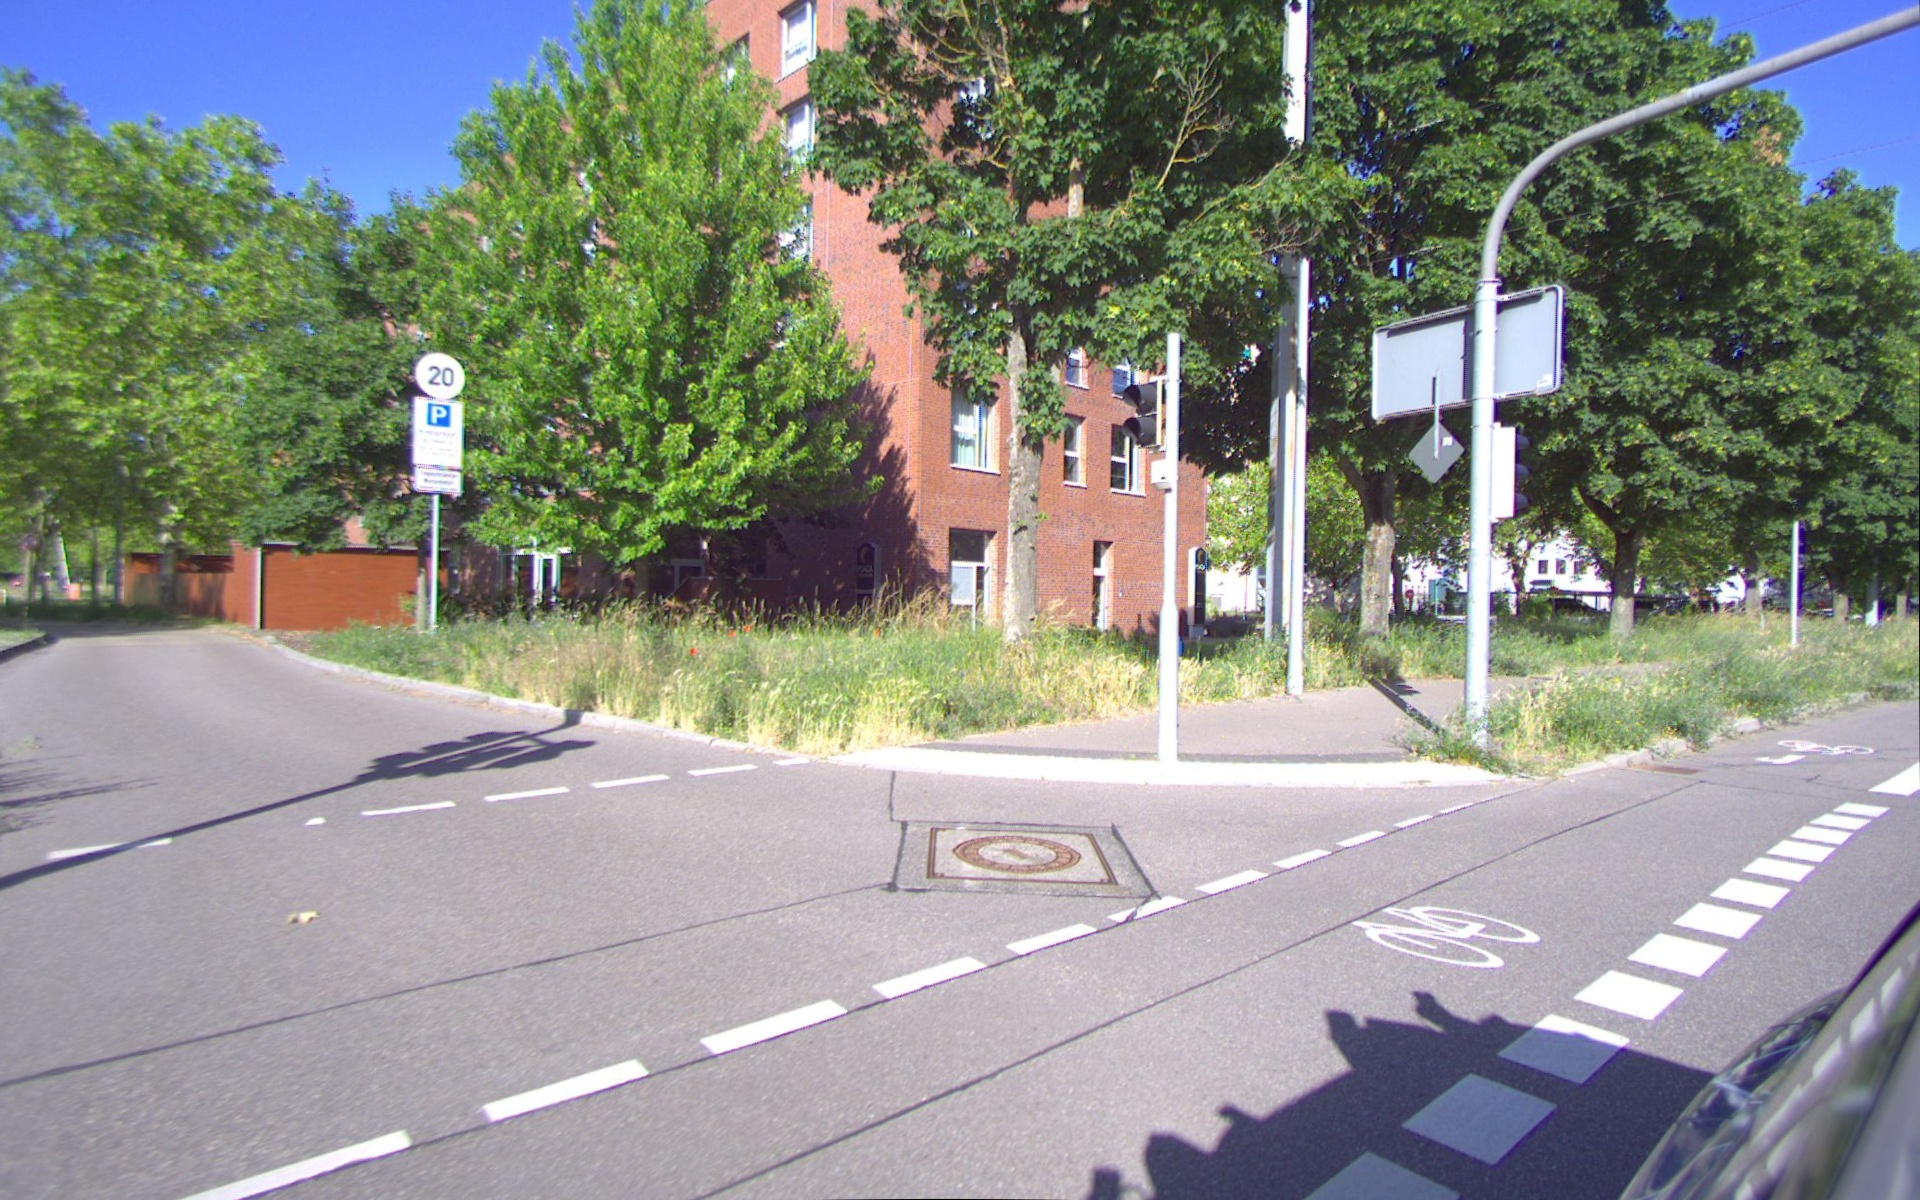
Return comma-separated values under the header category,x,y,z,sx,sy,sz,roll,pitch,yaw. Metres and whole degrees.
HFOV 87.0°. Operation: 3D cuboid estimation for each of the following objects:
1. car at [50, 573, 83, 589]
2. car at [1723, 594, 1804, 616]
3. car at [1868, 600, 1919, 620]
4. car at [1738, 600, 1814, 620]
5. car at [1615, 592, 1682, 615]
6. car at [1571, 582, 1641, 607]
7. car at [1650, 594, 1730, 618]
category,x,y,z,sx,sy,sz,roll,pitch,yaw
car,-91.014,-1.985,103.152,1.927,1.550,4.002,1,1,-34
car,57.015,0.338,71.889,1.789,1.450,4.181,1,0,-32
car,89.237,0.941,96.070,1.737,1.721,4.338,1,2,-44
car,64.983,0.779,80.667,1.901,1.341,4.311,2,1,-31
car,63.933,0.327,94.066,1.937,1.974,4.764,1,1,-36
car,54.723,-0.457,85.814,1.920,2.039,4.602,1,1,-34
car,49.192,0.379,68.237,1.705,1.524,4.044,1,1,-35
